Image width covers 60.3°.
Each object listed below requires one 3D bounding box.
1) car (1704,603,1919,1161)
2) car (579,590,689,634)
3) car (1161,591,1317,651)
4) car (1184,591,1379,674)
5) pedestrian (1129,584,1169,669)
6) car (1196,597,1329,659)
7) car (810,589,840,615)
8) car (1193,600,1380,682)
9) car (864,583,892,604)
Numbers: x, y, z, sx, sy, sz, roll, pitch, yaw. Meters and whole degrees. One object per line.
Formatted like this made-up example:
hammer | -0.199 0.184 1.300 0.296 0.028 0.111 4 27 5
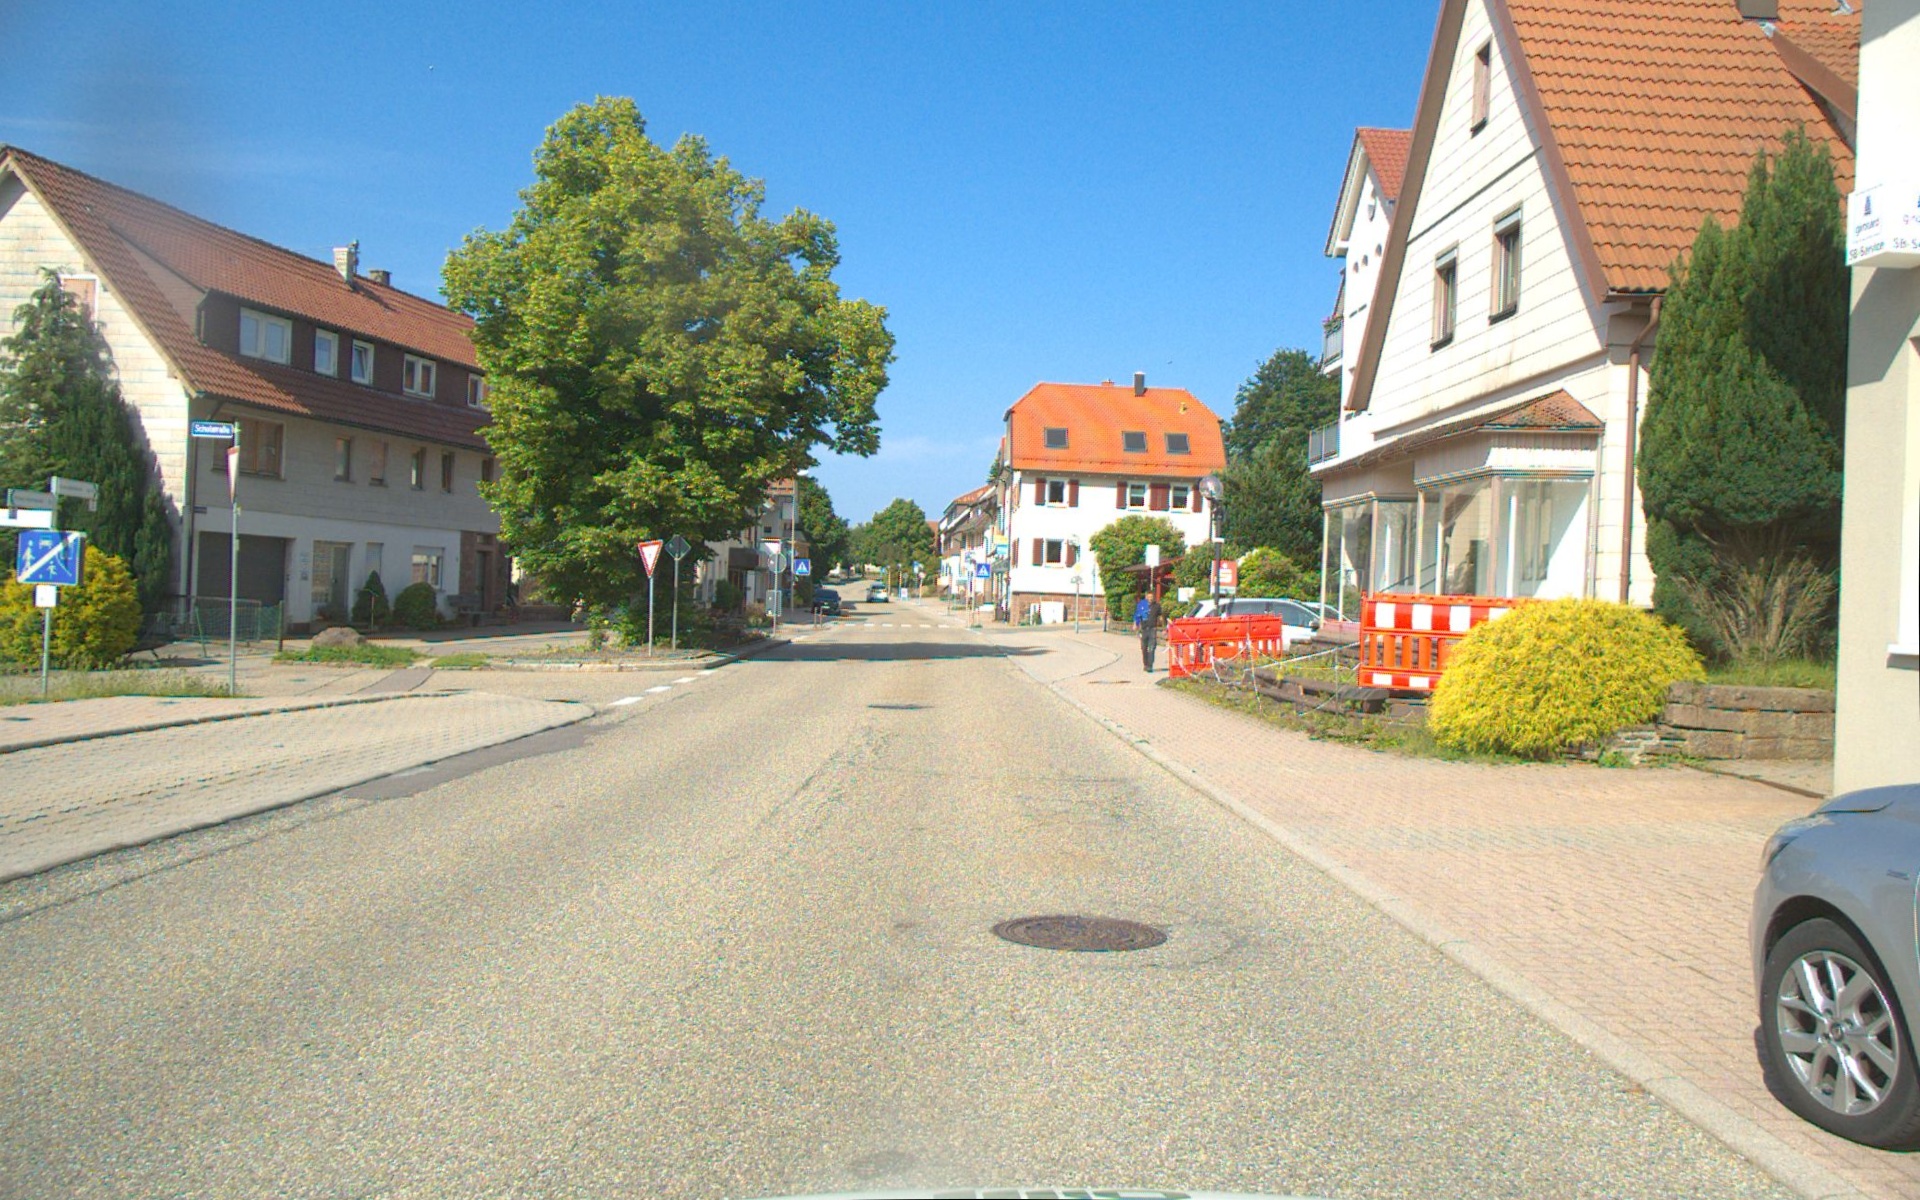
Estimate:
car | 3.382 0.747 3.468 1.603 1.444 3.931 0 0 -5
car | -12.431 0.490 63.149 3.679 1.480 1.819 -1 -5 10
car | 7.447 0.550 44.374 3.905 1.575 1.881 0 0 1
car | 6.578 0.633 33.926 3.779 1.585 1.965 1 0 11
pedestrian | 4.070 0.564 35.652 0.782 1.815 0.980 0 0 3
car | 7.548 0.690 41.472 3.165 1.494 1.629 0 0 6
car | -8.883 0.124 109.004 1.639 1.559 3.534 5 0 -2
car | 7.155 0.882 36.540 3.902 1.576 1.739 2 1 9
car | -7.933 -0.623 160.113 2.447 2.049 4.299 -1 0 -5
